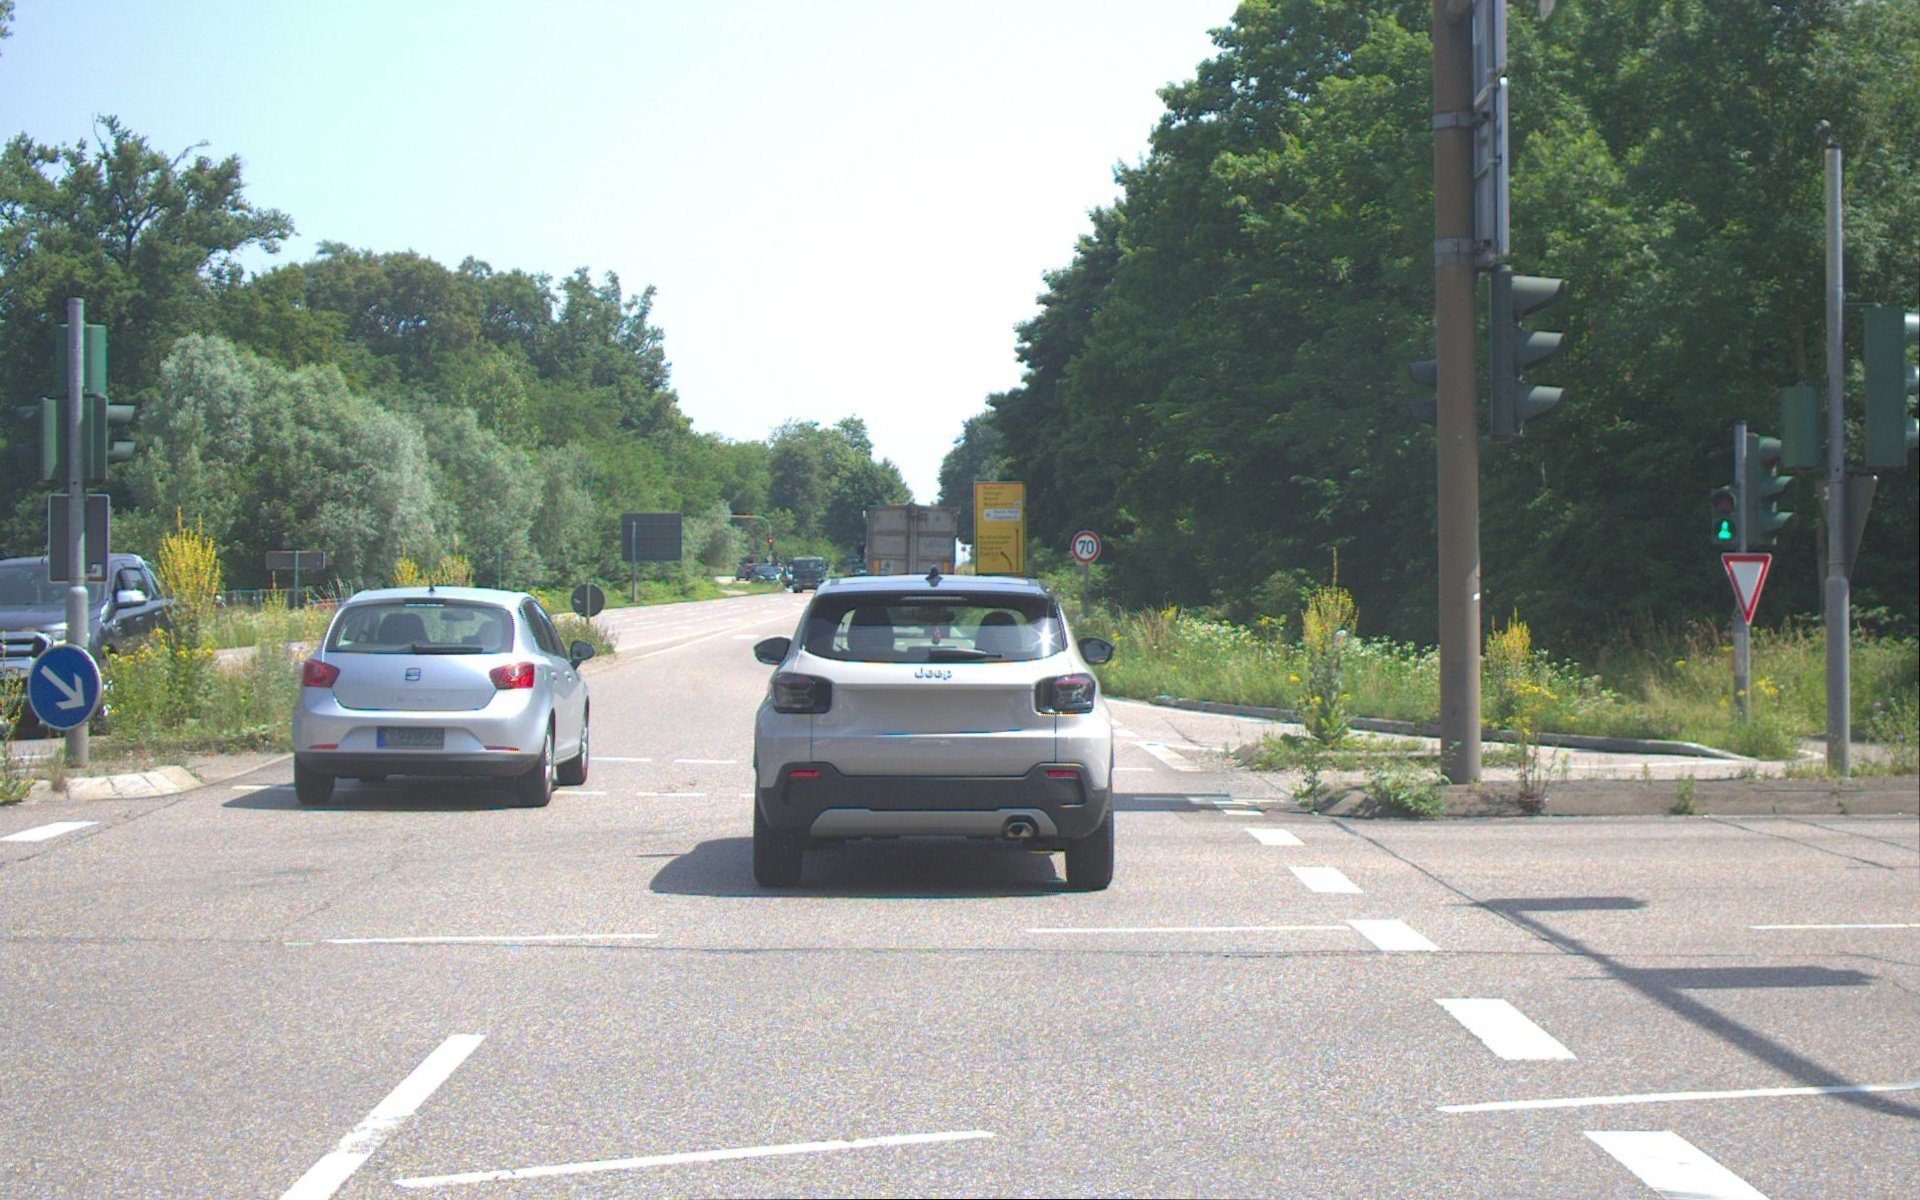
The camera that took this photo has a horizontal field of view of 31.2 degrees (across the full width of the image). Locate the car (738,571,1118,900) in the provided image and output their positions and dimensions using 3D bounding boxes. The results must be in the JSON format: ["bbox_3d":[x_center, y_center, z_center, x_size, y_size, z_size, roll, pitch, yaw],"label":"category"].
[{"bbox_3d":[-0.134,0.619,18.115,1.767,1.529,4.000,0,0,1],"label":"car"}]

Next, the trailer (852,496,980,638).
[{"bbox_3d":[-1.222,-0.947,103.649,3.383,3.975,10.803,1,0,1],"label":"trailer"}]

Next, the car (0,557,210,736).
[{"bbox_3d":[-9.303,0.432,35.216,1.993,1.672,5.365,-1,0,1],"label":"car"}]

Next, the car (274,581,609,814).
[{"bbox_3d":[-3.464,0.605,23.596,1.666,1.425,3.828,1,0,1],"label":"car"}]

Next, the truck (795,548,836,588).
[{"bbox_3d":[-10.189,-2.266,242.948,2.454,2.647,6.491,-3,1,0],"label":"truck"}]

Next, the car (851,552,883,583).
[{"bbox_3d":[-6.112,-2.129,227.242,1.993,2.007,4.554,-1,1,0],"label":"car"}]
